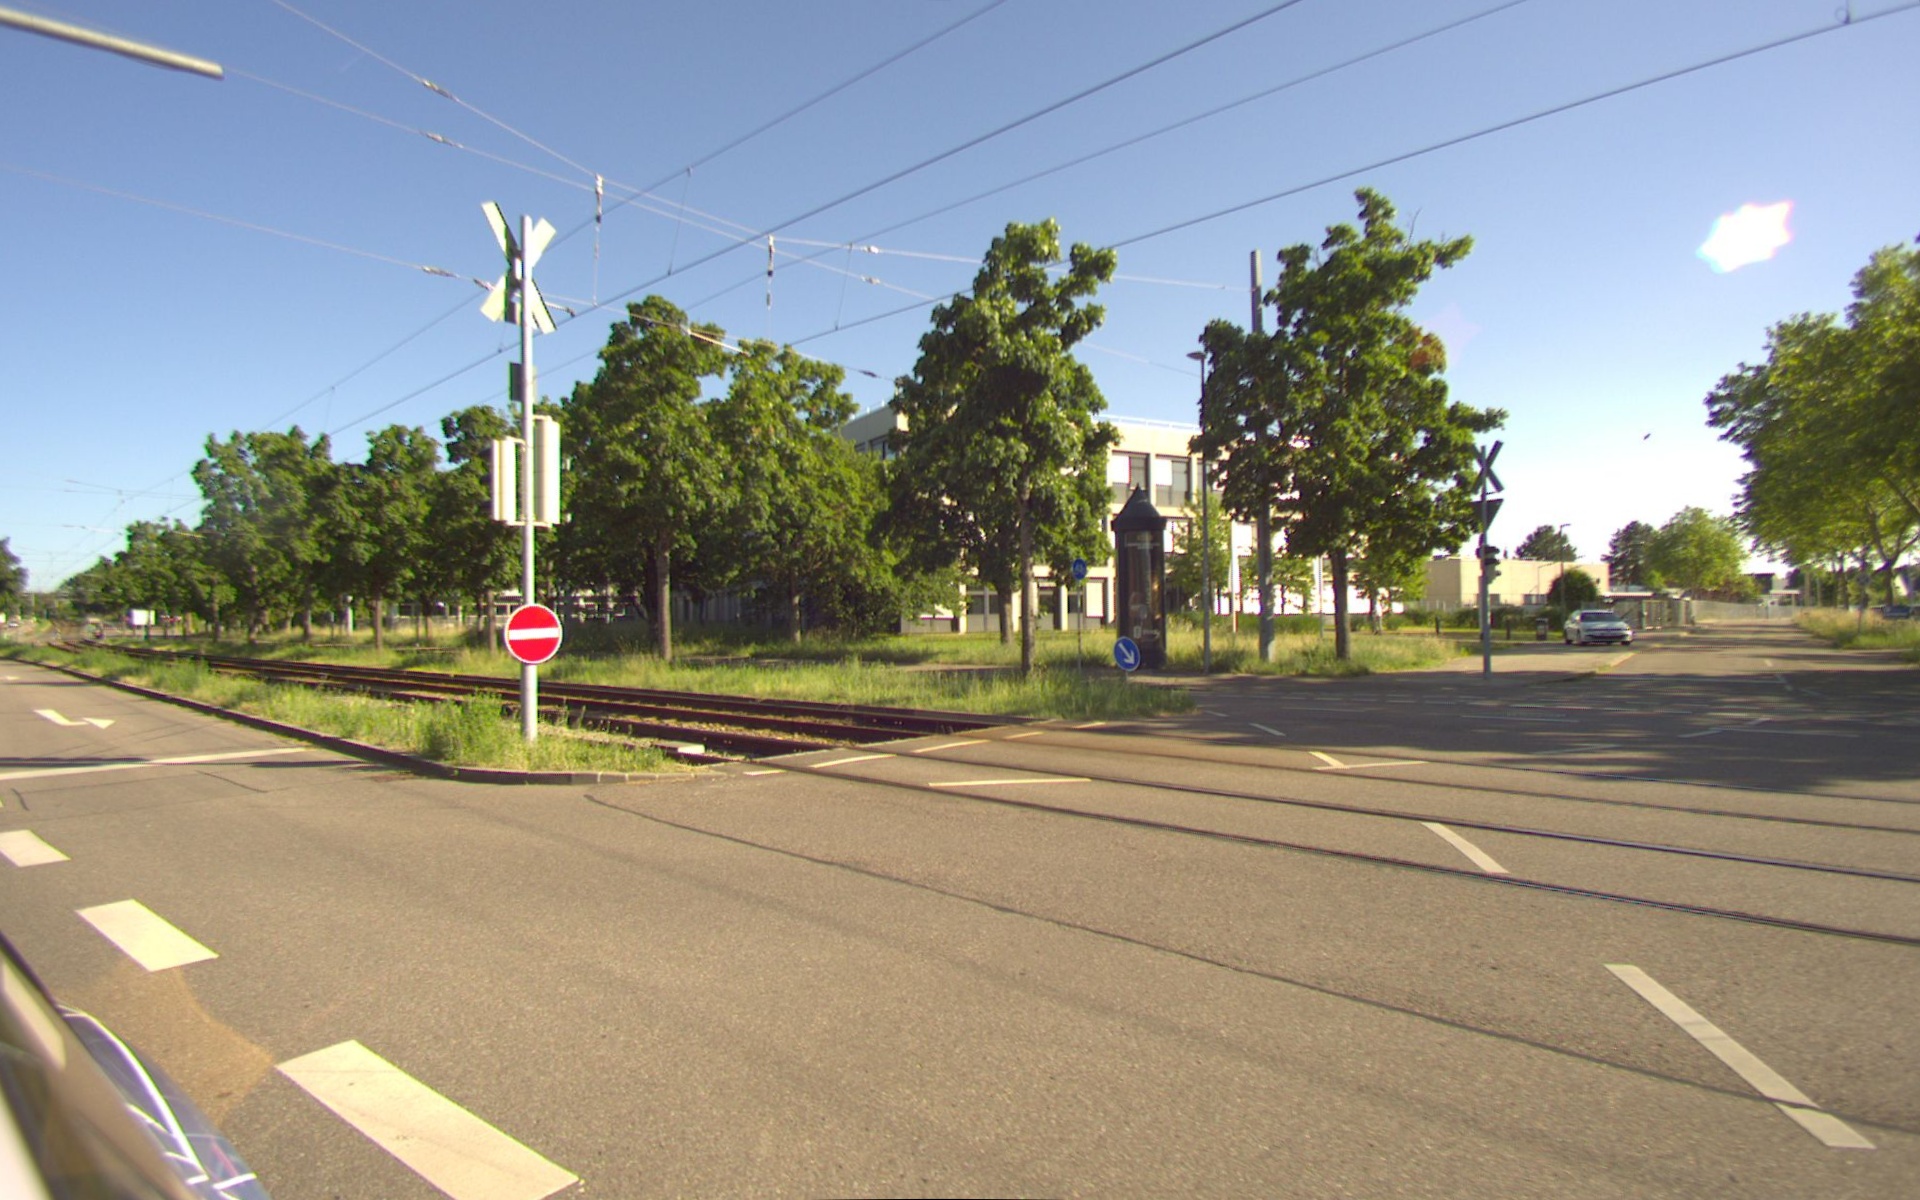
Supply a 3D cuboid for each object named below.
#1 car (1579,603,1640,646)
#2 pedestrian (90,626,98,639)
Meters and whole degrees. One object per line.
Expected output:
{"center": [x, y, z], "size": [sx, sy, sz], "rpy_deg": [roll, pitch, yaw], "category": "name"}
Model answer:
{"center": [26.745, 1.009, 41.774], "size": [1.983, 1.652, 4.383], "rpy_deg": [-2, -2, 31], "category": "car"}
{"center": [-117.144, 4.430, 136.824], "size": [0.774, 1.765, 0.782], "rpy_deg": [0, -1, -44], "category": "pedestrian"}
